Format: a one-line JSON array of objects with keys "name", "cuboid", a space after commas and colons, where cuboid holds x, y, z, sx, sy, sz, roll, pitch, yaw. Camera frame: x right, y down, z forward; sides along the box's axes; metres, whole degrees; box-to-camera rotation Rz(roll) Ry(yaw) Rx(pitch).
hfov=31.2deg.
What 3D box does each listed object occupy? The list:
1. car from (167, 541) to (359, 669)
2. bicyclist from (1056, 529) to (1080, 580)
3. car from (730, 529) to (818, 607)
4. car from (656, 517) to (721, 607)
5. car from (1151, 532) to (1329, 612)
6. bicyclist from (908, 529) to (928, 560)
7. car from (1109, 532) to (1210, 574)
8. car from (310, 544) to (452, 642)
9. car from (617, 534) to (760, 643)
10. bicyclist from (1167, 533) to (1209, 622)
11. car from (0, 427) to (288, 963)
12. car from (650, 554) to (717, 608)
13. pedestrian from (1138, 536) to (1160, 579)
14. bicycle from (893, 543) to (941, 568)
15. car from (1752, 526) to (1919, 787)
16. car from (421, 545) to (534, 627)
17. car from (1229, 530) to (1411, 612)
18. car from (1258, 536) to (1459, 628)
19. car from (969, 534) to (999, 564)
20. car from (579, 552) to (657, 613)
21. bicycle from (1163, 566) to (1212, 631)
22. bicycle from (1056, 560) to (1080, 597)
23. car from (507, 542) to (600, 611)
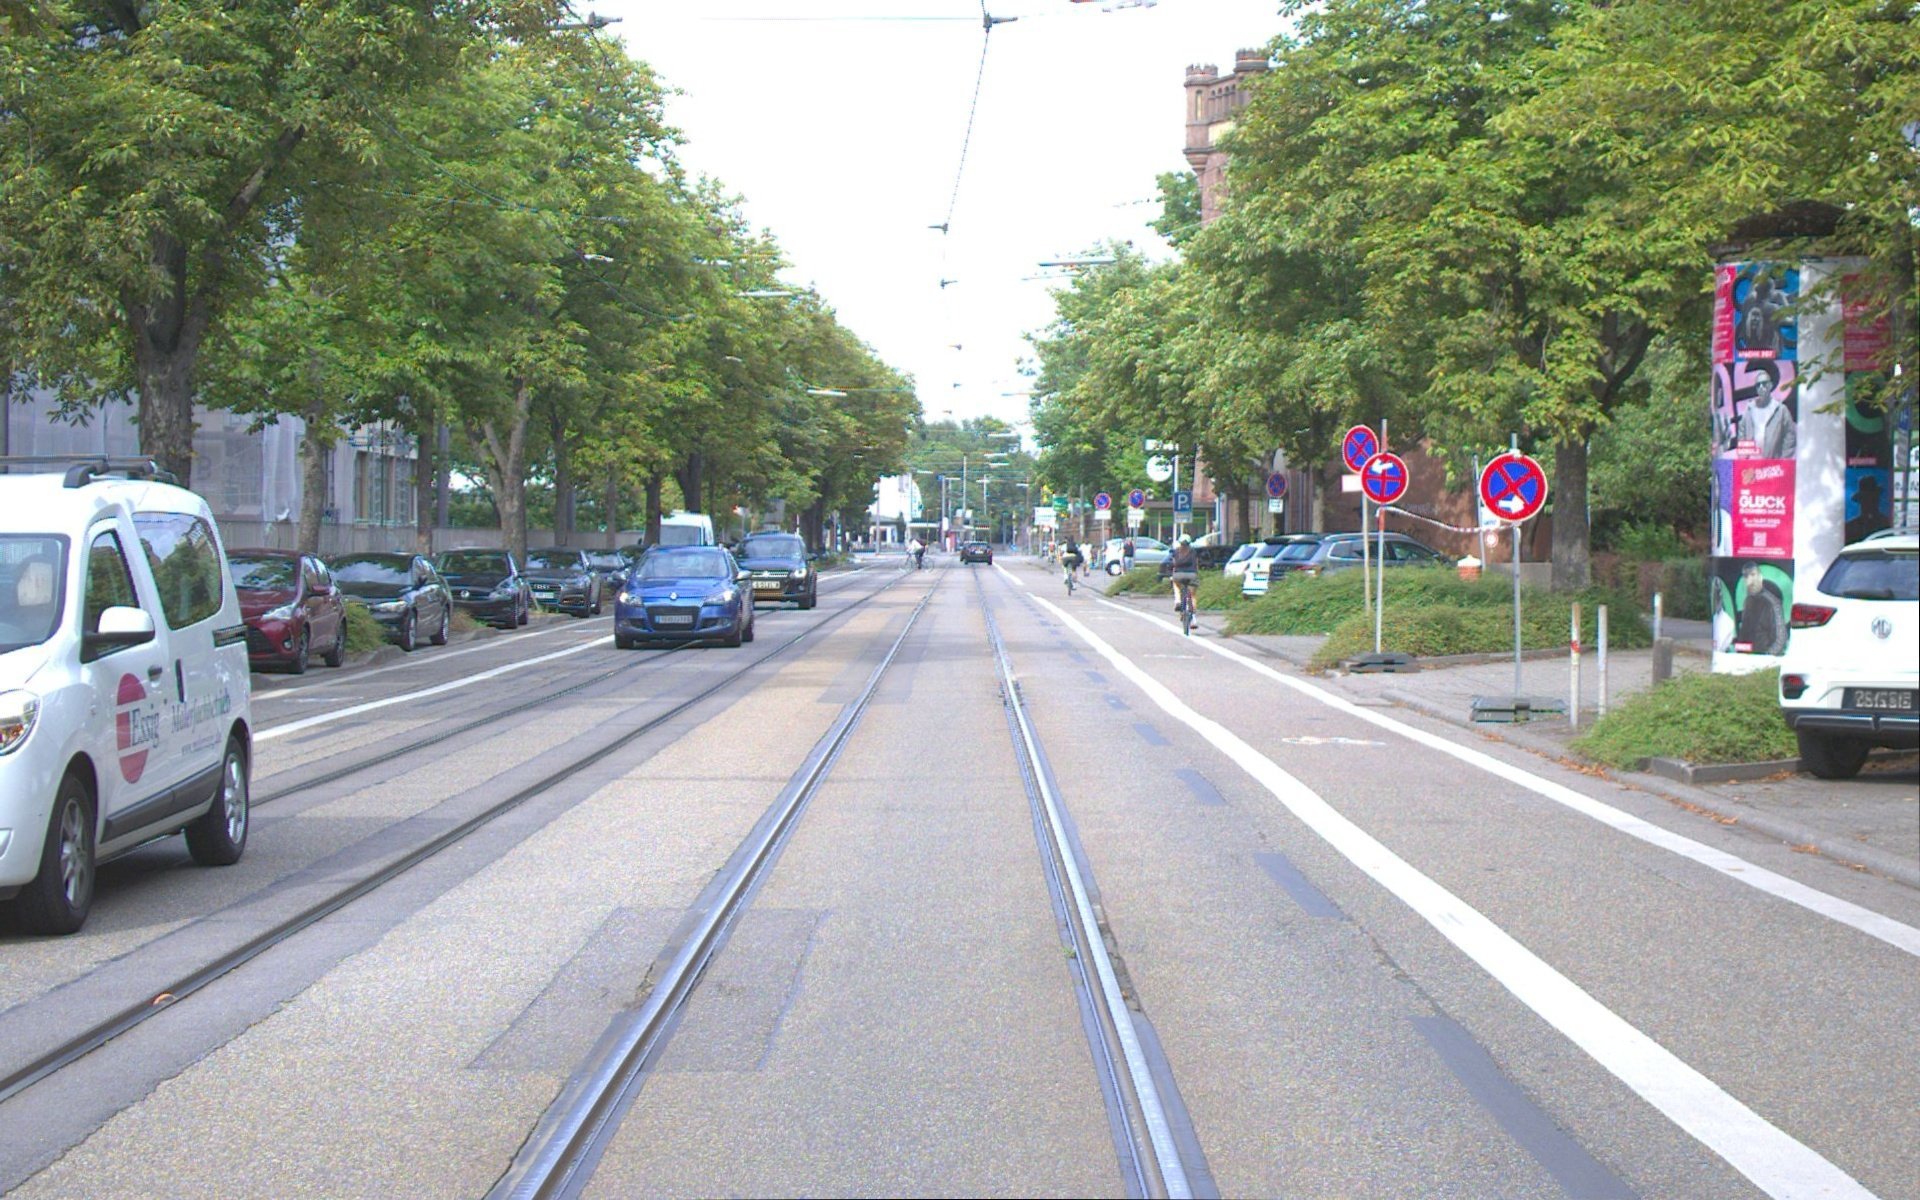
[{"name": "car", "cuboid": [-8.646, 0.025, 42.915, 1.635, 1.491, 3.963, 1, 1, -1]}, {"name": "bicyclist", "cuboid": [3.184, -1.343, 101.268, 0.659, 1.491, 0.929, 1, 1, 1]}, {"name": "car", "cuboid": [-4.044, -0.724, 75.200, 1.732, 1.623, 4.378, -1, 1, -1]}, {"name": "car", "cuboid": [-8.397, -1.196, 106.492, 1.720, 2.695, 5.471, 1, 1, -2]}, {"name": "car", "cuboid": [5.768, -0.578, 70.536, 1.681, 1.597, 3.637, 1, 1, 45]}, {"name": "bicyclist", "cuboid": [-2.050, -2.722, 168.775, 0.847, 1.499, 0.768, 1, 1, 7]}, {"name": "car", "cuboid": [8.387, -1.983, 144.748, 3.986, 1.687, 2.000, 1, 1, -5]}, {"name": "car", "cuboid": [-8.733, -0.133, 52.116, 1.590, 1.398, 3.963, 1, 1, -2]}, {"name": "car", "cuboid": [-3.902, -0.208, 49.932, 1.732, 1.491, 4.378, 0, 1, 0]}, {"name": "bicyclist", "cuboid": [3.781, -0.384, 57.131, 0.592, 1.454, 0.875, 1, 1, -2]}, {"name": "car", "cuboid": [-4.132, 0.277, 14.242, 1.732, 1.878, 4.378, 1, 1, 1]}, {"name": "car", "cuboid": [-7.468, -0.523, 93.141, 1.590, 1.398, 3.963, 1, 1, -2]}, {"name": "pedestrian", "cuboid": [7.946, -1.776, 144.506, 0.748, 1.783, 0.730, 1, 0, 15]}, {"name": "bicycle", "cuboid": [-2.105, -2.206, 168.787, 2.275, 1.185, 0.768, 1, 1, 8]}, {"name": "car", "cuboid": [6.916, 0.337, 22.551, 1.681, 1.597, 3.637, 1, 1, 45]}, {"name": "car", "cuboid": [-8.728, -0.276, 62.427, 1.590, 1.398, 3.963, 1, 1, -2]}, {"name": "car", "cuboid": [7.178, -0.574, 68.388, 1.681, 1.597, 3.637, 1, 1, 45]}, {"name": "car", "cuboid": [7.155, -0.322, 61.592, 1.681, 1.597, 3.637, 1, 1, 45]}, {"name": "car", "cuboid": [1.489, -3.212, 216.634, 1.795, 1.817, 4.679, 1, 1, -1]}, {"name": "car", "cuboid": [-8.224, -0.432, 82.947, 1.590, 1.398, 3.963, 1, 1, -2]}, {"name": "bicycle", "cuboid": [3.773, -0.038, 57.136, 0.592, 1.040, 1.978, 1, 1, -2]}, {"name": "bicycle", "cuboid": [3.171, -0.635, 101.276, 0.663, 1.040, 1.841, 1, 1, 1]}, {"name": "car", "cuboid": [-8.572, -0.525, 72.724, 1.590, 1.398, 3.963, 1, 1, -2]}]
